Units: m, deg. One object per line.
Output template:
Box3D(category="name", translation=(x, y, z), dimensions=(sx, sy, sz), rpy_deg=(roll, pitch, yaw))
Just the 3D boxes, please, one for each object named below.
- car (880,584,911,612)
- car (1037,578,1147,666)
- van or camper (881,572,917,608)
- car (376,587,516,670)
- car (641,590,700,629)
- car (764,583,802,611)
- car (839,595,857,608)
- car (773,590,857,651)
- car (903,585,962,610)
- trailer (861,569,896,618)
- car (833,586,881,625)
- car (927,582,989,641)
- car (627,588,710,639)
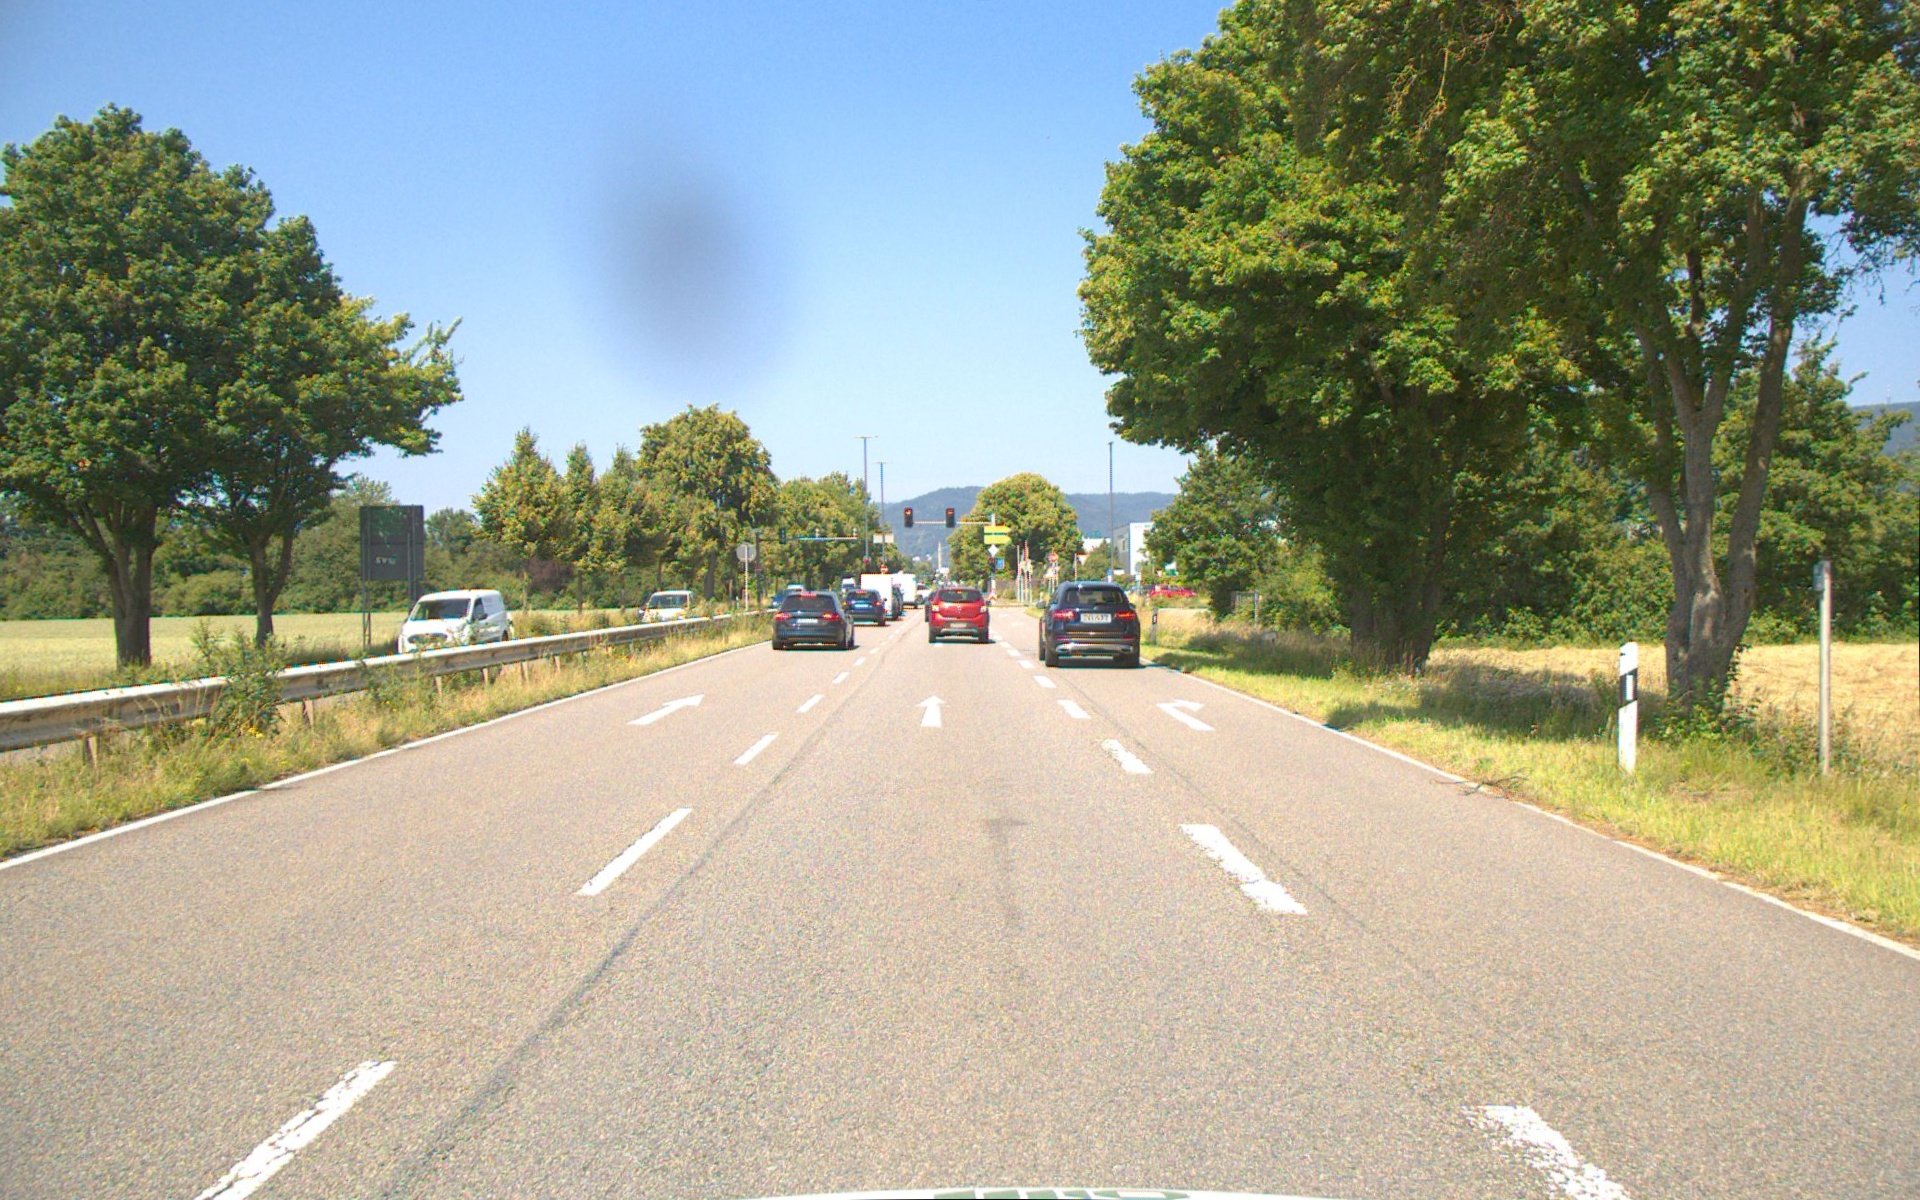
Box3D(category="car", translation=(-3.905, -0.134, 100.687), dimensions=(1.689, 1.628, 3.955), rpy_deg=(0, 0, 0))
Box3D(category="car", translation=(2.600, 0.393, 33.424), dimensions=(1.952, 1.645, 4.340), rpy_deg=(0, 1, 1))
Box3D(category="van or camper", translation=(-4.107, -0.713, 112.167), dimensions=(2.134, 2.343, 4.827), rpy_deg=(-2, 0, 0))
Box3D(category="car", translation=(-13.065, 0.665, 42.354), dimensions=(1.952, 1.995, 4.928), rpy_deg=(-1, 0, 1))
Box3D(category="car", translation=(-13.205, 0.408, 75.704), dimensions=(1.953, 1.691, 4.480), rpy_deg=(-1, 0, -1))
Box3D(category="car", translation=(-11.045, -0.203, 103.650), dimensions=(1.953, 1.691, 4.479), rpy_deg=(-1, 0, -1))
Box3D(category="car", translation=(-12.870, 0.141, 190.842), dimensions=(1.841, 1.480, 4.503), rpy_deg=(-1, 0, -1))
Box3D(category="car", translation=(-3.544, 0.457, 41.046), dimensions=(1.705, 1.404, 4.455), rpy_deg=(0, 1, 0))
Box3D(category="car", translation=(-2.178, -0.211, 132.609), dimensions=(4.393, 1.900, 1.887), rpy_deg=(-1, 0, 10))
Box3D(category="trailer", translation=(-3.758, -0.305, 76.475), dimensions=(1.470, 2.211, 4.173), rpy_deg=(0, 0, -1))
Box3D(category="car", translation=(-4.044, 0.210, 65.492), dimensions=(1.682, 1.491, 4.029), rpy_deg=(0, 0, -1))
Box3D(category="car", translation=(-0.020, 0.300, 47.144), dimensions=(1.713, 1.603, 3.677), rpy_deg=(0, 1, 1))
Box3D(category="car", translation=(-9.574, 0.408, 54.682), dimensions=(1.953, 1.584, 4.480), rpy_deg=(-1, 0, 0))
